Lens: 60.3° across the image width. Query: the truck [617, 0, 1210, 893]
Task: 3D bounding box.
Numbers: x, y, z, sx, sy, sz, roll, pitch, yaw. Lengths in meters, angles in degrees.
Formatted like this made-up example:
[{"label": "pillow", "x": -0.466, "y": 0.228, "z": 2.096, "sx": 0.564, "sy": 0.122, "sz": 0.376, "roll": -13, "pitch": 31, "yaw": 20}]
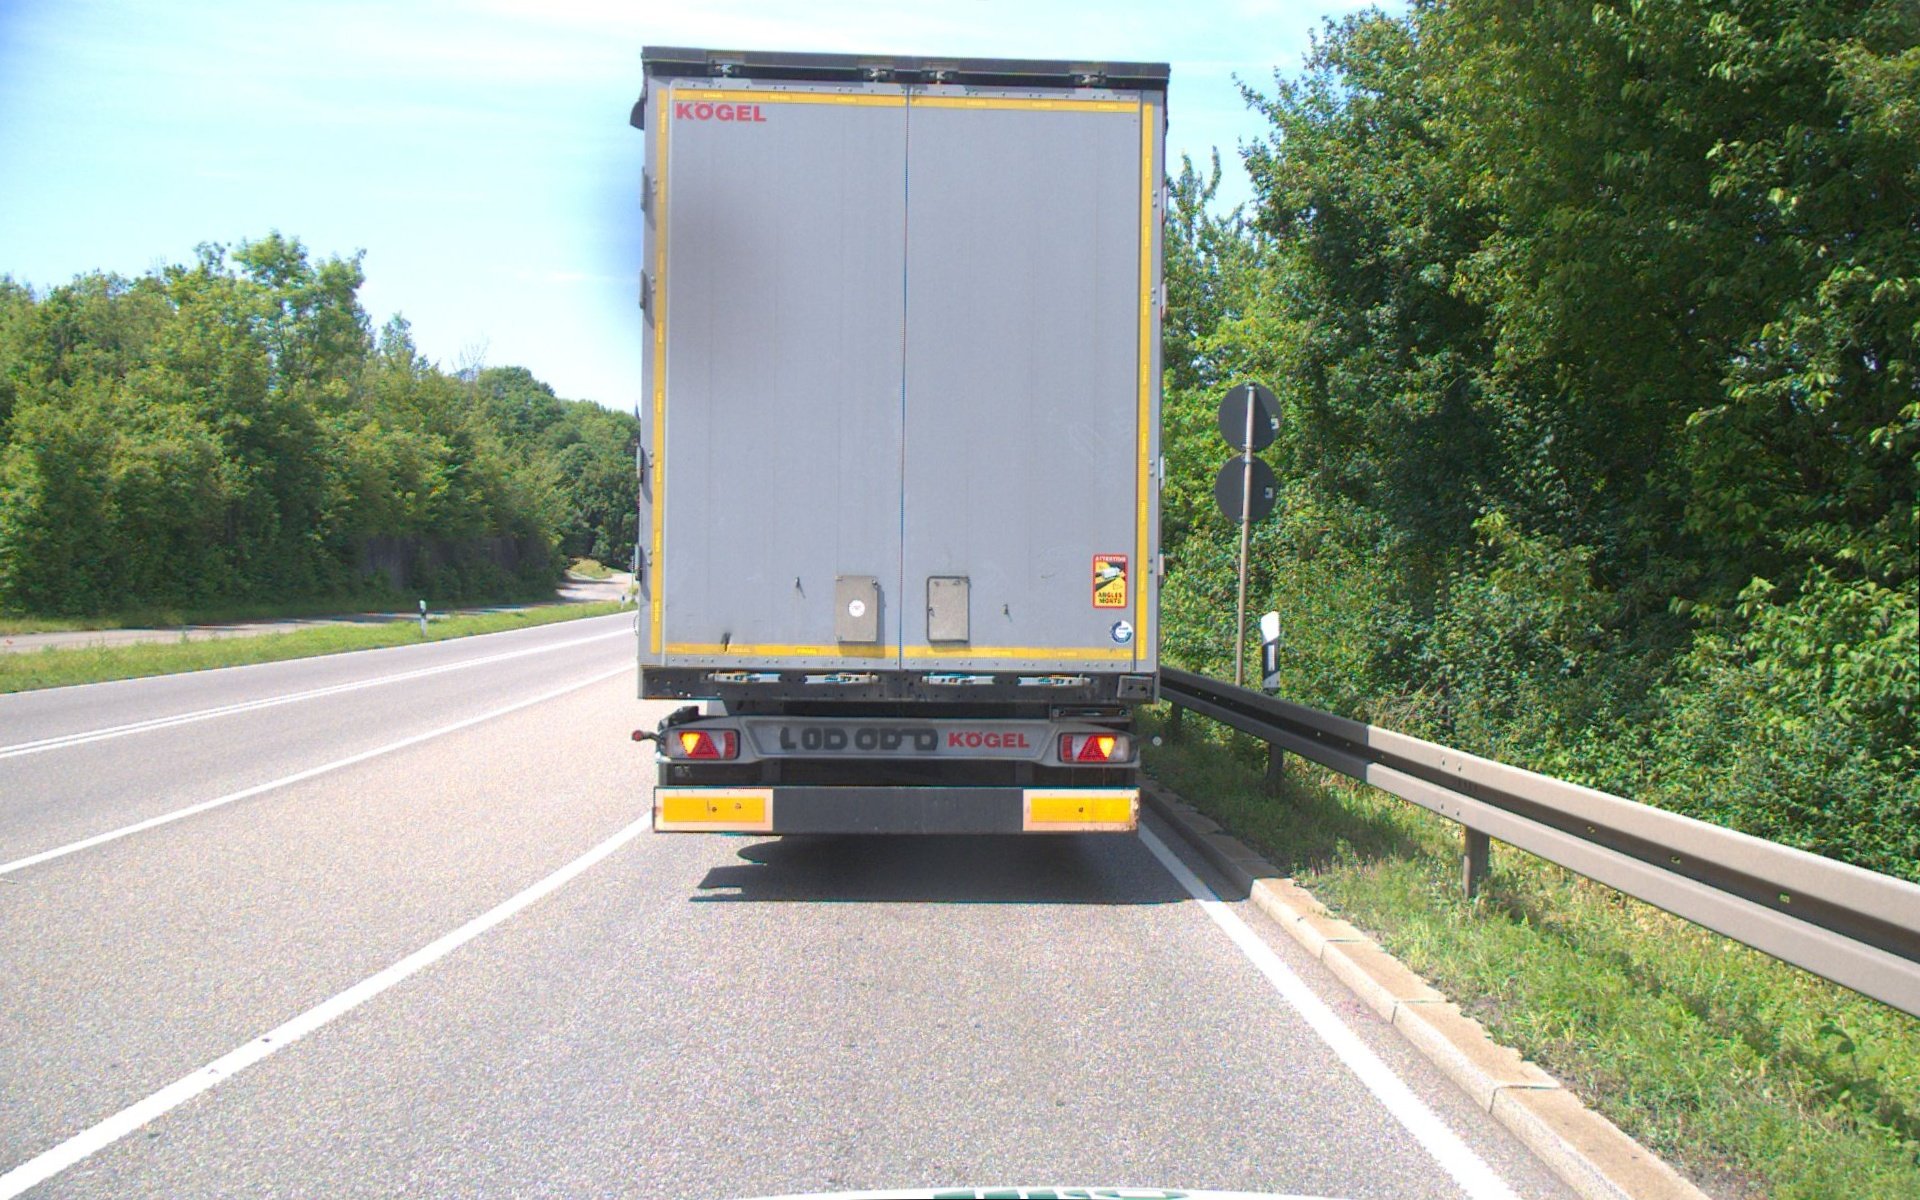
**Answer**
[{"label": "truck", "x": -0.363, "y": -0.743, "z": 13.607, "sx": 2.701, "sy": 4.100, "sz": 11.920, "roll": 1, "pitch": 0, "yaw": -2}]
